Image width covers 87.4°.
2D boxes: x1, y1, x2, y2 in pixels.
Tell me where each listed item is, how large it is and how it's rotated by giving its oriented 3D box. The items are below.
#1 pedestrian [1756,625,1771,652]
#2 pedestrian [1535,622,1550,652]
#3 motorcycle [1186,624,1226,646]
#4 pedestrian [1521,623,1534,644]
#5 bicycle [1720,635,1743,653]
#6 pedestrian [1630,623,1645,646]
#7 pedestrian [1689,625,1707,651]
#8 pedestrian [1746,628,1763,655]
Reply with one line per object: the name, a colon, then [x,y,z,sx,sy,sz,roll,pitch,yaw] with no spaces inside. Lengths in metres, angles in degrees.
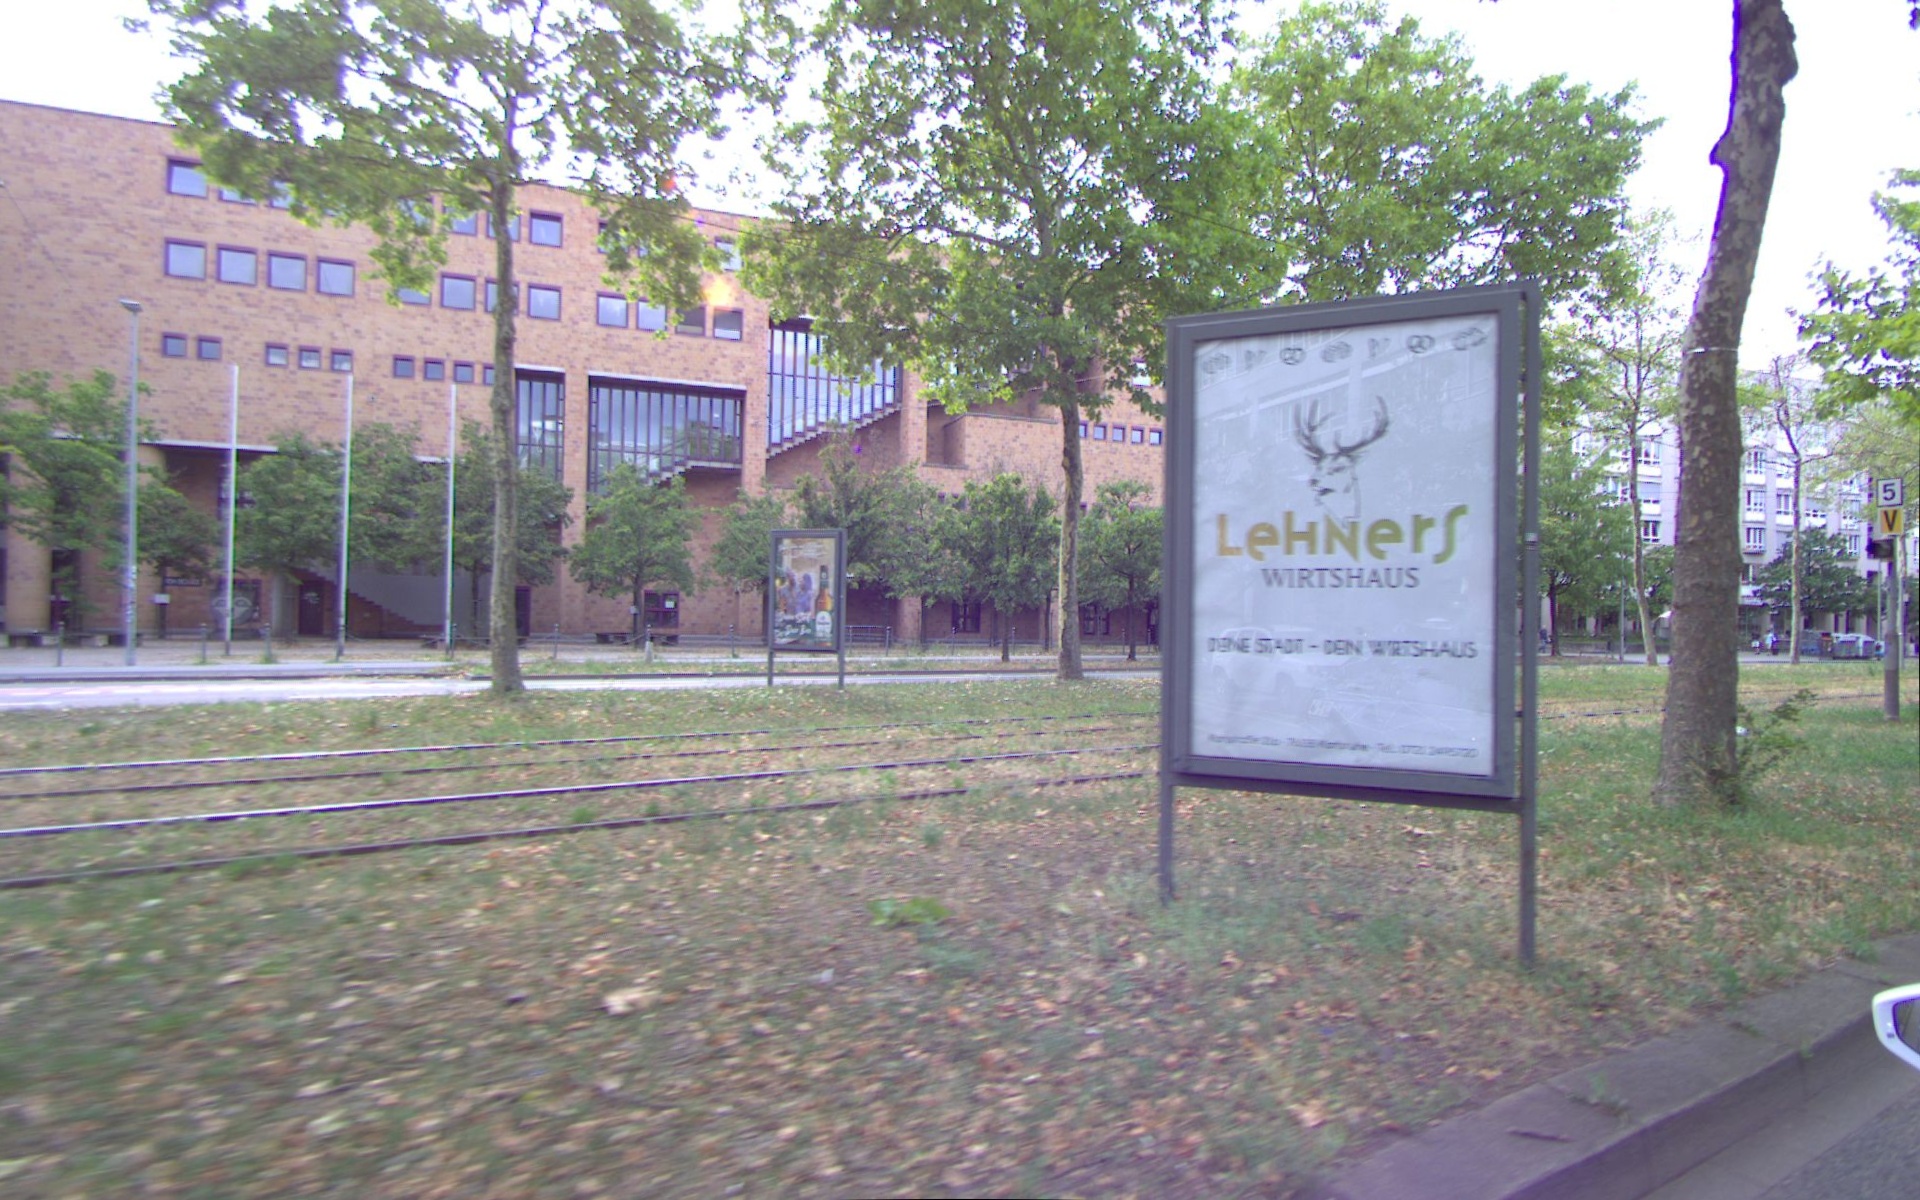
pedestrian: [52.598,2.516,65.733,0.618,1.728,0.550,1,-1,-26]
pedestrian: [34.254,2.162,59.078,0.618,1.728,0.550,1,-1,-26]
motorcycle: [14.373,2.045,58.758,2.162,1.207,0.794,0,-1,37]
pedestrian: [37.441,2.197,66.283,0.546,1.340,0.457,1,-1,-20]
bicycle: [55.005,3.157,71.620,1.813,1.228,0.532,1,-1,-24]
pedestrian: [49.781,2.527,73.815,0.650,1.694,0.635,1,-1,-22]
pedestrian: [53.230,2.729,72.437,0.682,1.833,0.768,1,-1,-21]
pedestrian: [52.374,2.723,66.231,0.873,1.728,0.550,1,-1,-27]
